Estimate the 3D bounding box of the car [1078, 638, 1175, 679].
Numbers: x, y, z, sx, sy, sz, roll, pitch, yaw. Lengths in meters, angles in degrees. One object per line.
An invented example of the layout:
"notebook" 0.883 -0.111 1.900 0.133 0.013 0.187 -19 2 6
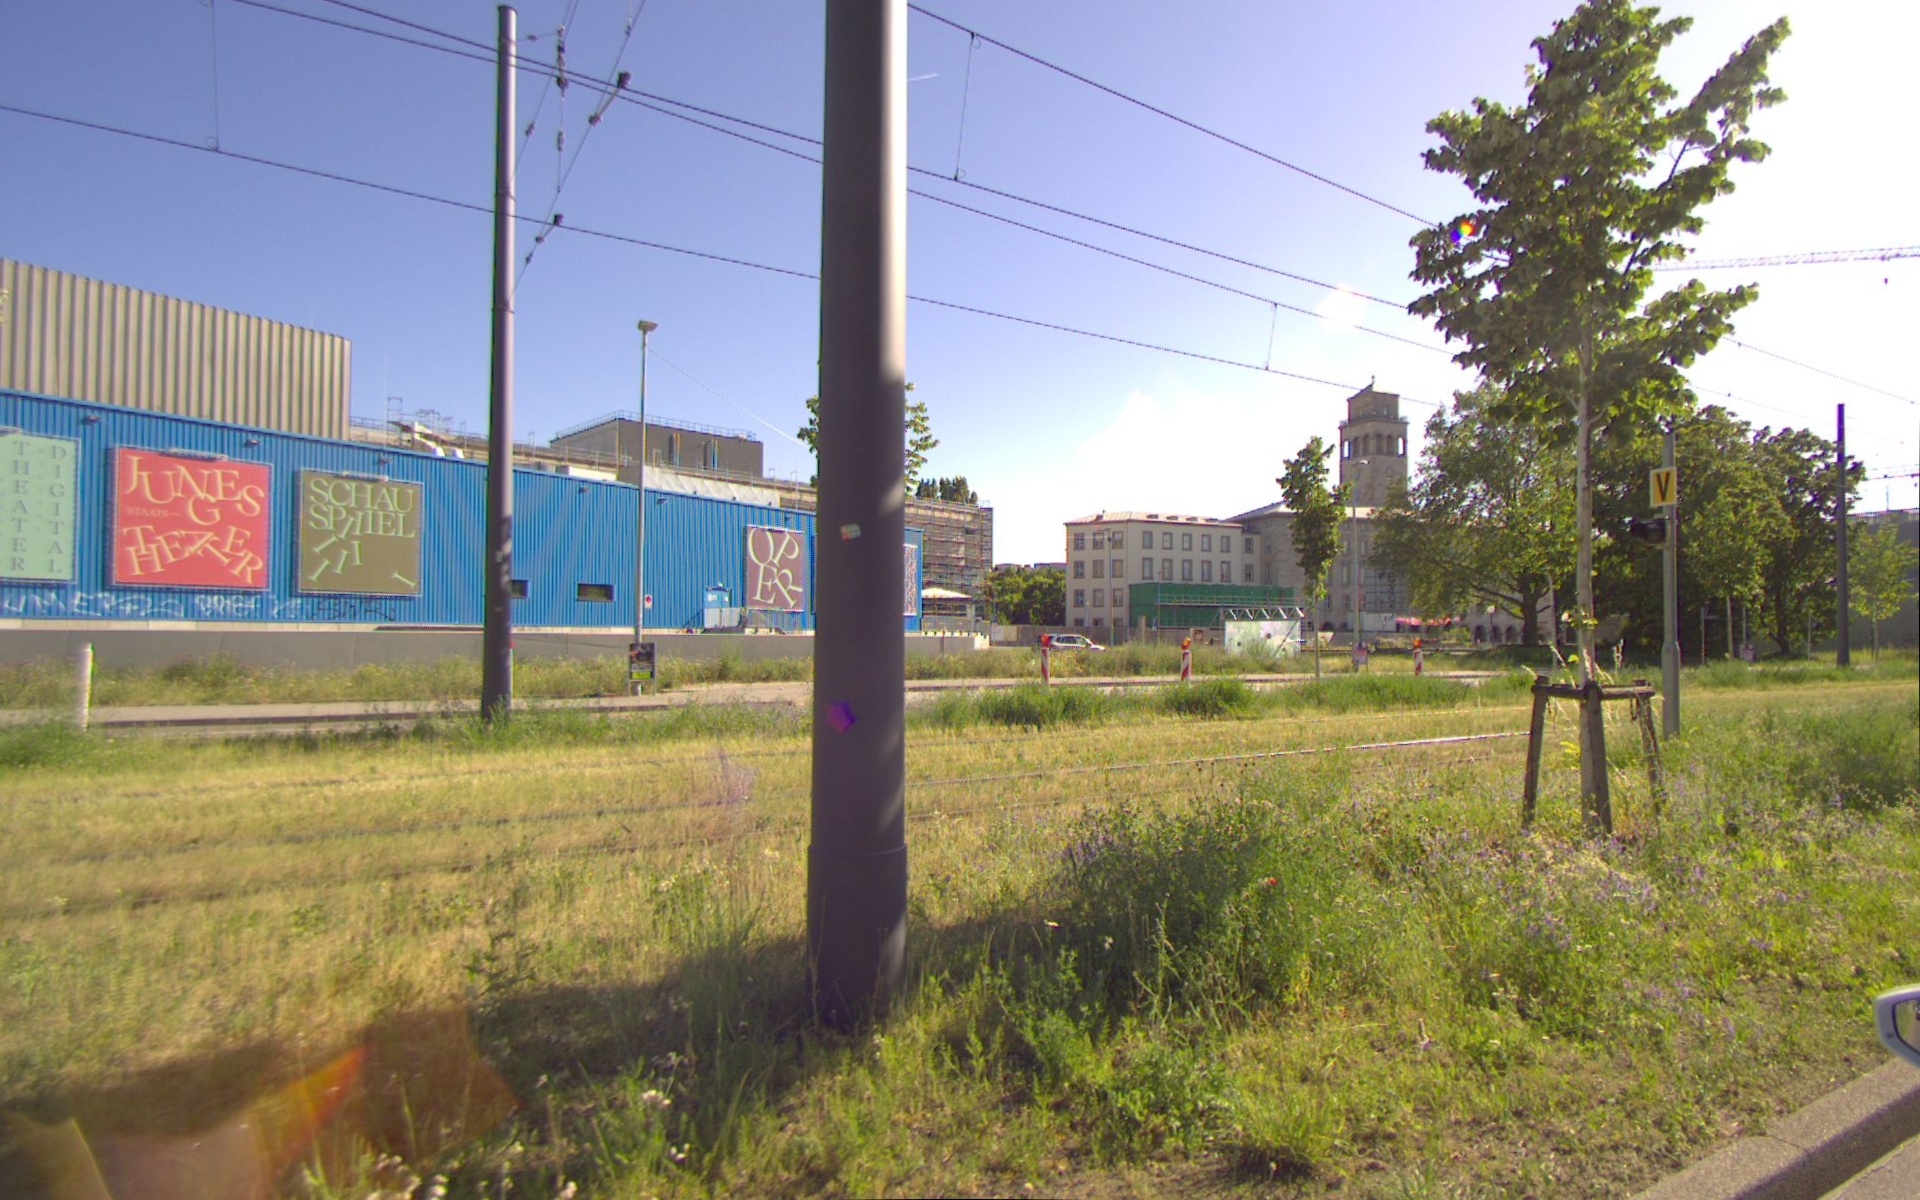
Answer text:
"car" 6.924 2.440 41.721 3.812 1.556 1.551 2 0 -30
